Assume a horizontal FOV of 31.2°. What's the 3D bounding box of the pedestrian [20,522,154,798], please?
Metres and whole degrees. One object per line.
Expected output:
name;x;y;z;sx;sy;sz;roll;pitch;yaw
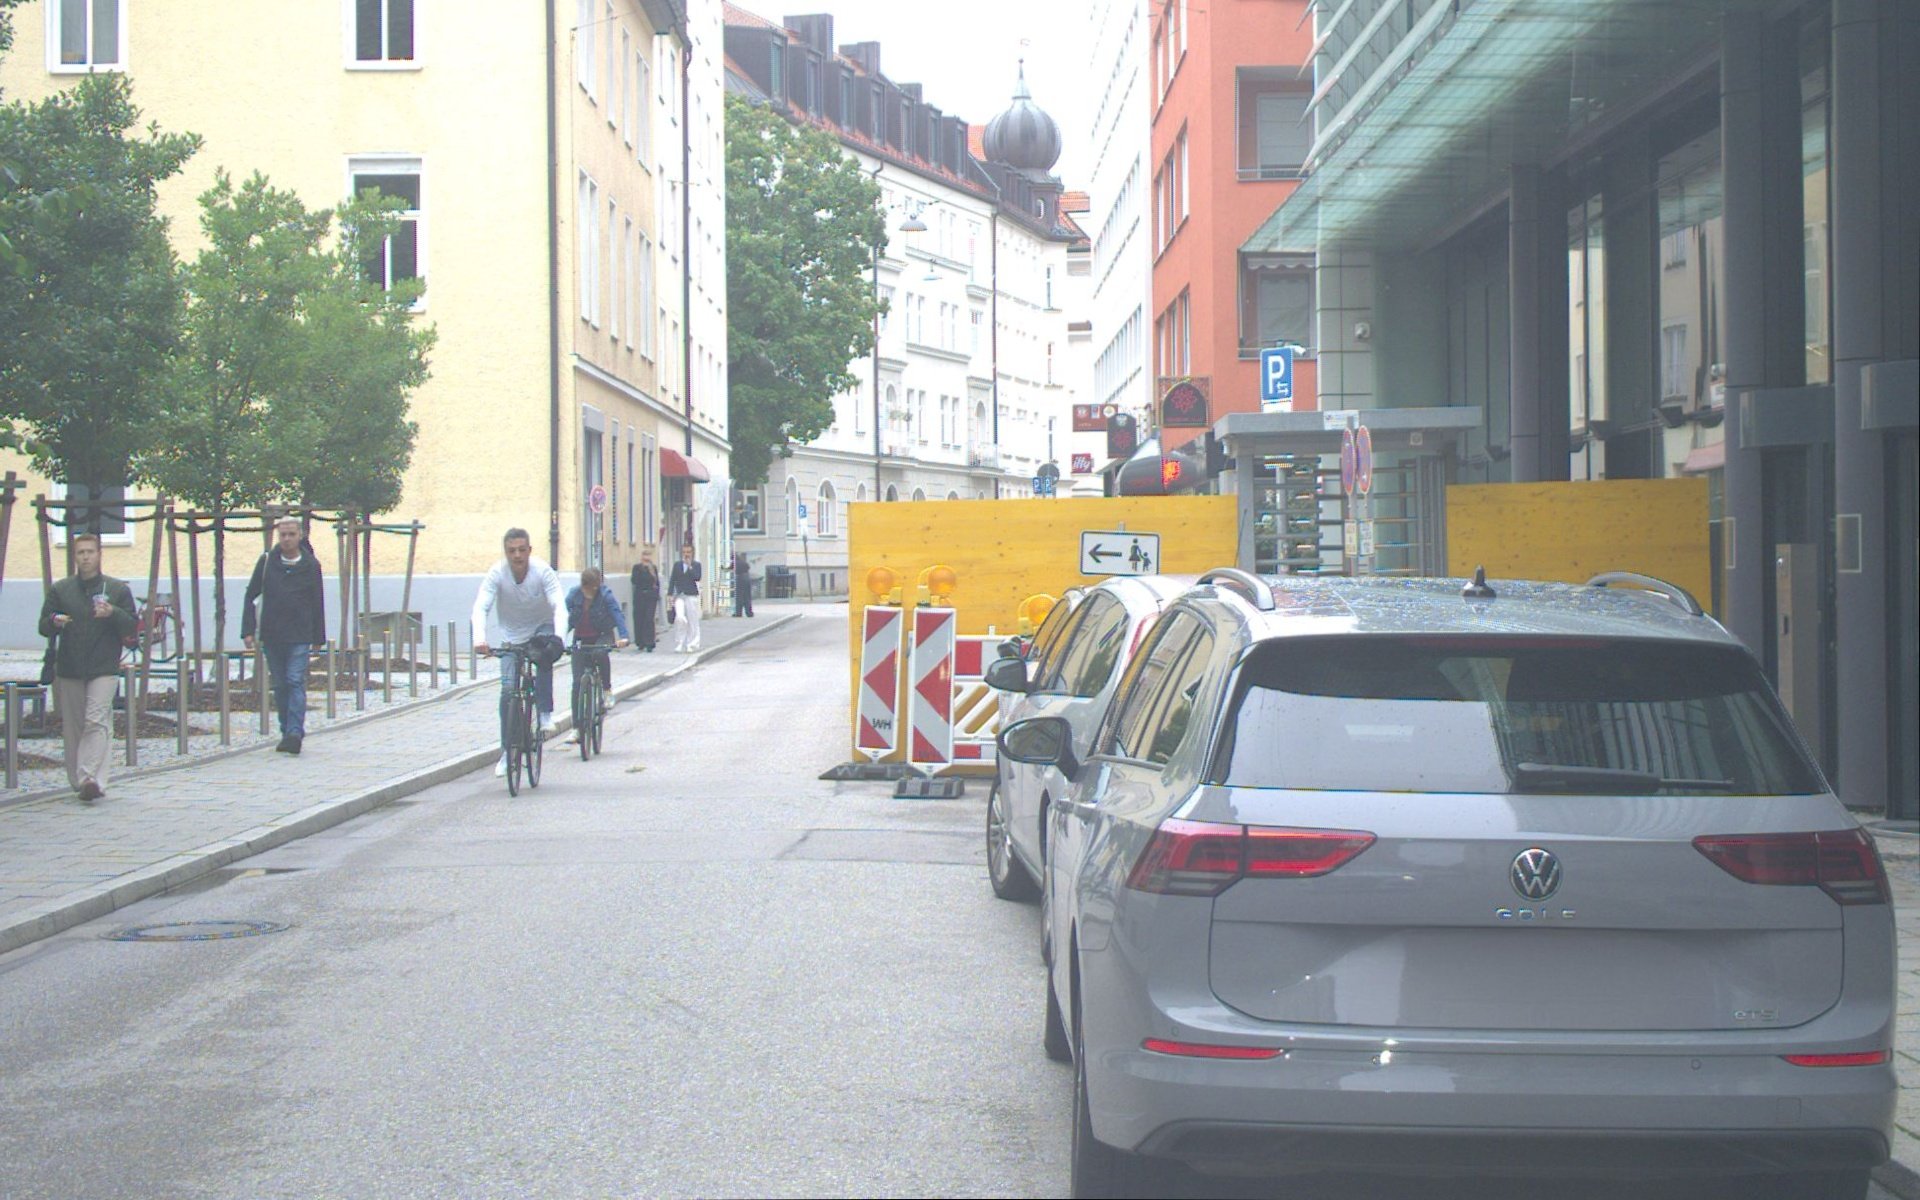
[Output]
pedestrian;-5.371;0.362;21.183;0.647;1.671;0.724;0;0;-1

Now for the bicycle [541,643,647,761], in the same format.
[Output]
bicycle;-3.057;0.842;28.873;0.707;0.902;1.809;-1;1;-1

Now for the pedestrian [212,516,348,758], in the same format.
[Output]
pedestrian;-5.390;0.281;27.294;0.867;1.875;1.135;0;0;-1

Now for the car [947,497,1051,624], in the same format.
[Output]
car;0.776;-0.824;71.275;1.993;2.528;4.975;0;1;-1

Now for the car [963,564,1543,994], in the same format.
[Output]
car;1.020;0.607;13.997;1.707;1.462;4.238;1;0;-4

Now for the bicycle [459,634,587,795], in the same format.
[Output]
bicycle;-3.073;0.788;24.329;0.661;1.035;2.005;-1;1;-1

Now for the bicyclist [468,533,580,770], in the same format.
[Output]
bicyclist;-3.072;0.351;24.263;0.659;1.637;0.895;-1;1;-1

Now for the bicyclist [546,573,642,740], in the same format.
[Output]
bicyclist;-3.060;0.463;28.834;0.707;1.366;0.813;-1;1;-1

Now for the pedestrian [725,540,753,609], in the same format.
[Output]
pedestrian;-5.394;-0.627;83.837;0.634;1.669;0.517;0;1;-1

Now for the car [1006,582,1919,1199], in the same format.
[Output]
car;1.041;0.683;8.703;1.708;1.427;4.329;0;1;-1

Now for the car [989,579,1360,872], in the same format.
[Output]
car;1.076;0.603;19.157;1.708;1.409;4.510;1;0;-1

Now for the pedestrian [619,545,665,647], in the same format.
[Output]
pedestrian;-5.143;-0.063;55.653;0.670;1.642;0.761;0;0;-1

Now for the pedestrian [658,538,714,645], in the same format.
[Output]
pedestrian;-4.406;-0.139;55.274;0.839;1.695;0.803;0;0;-1

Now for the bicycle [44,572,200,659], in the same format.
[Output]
bicycle;-11.737;0.212;48.165;2.044;1.193;0.570;0;1;7
